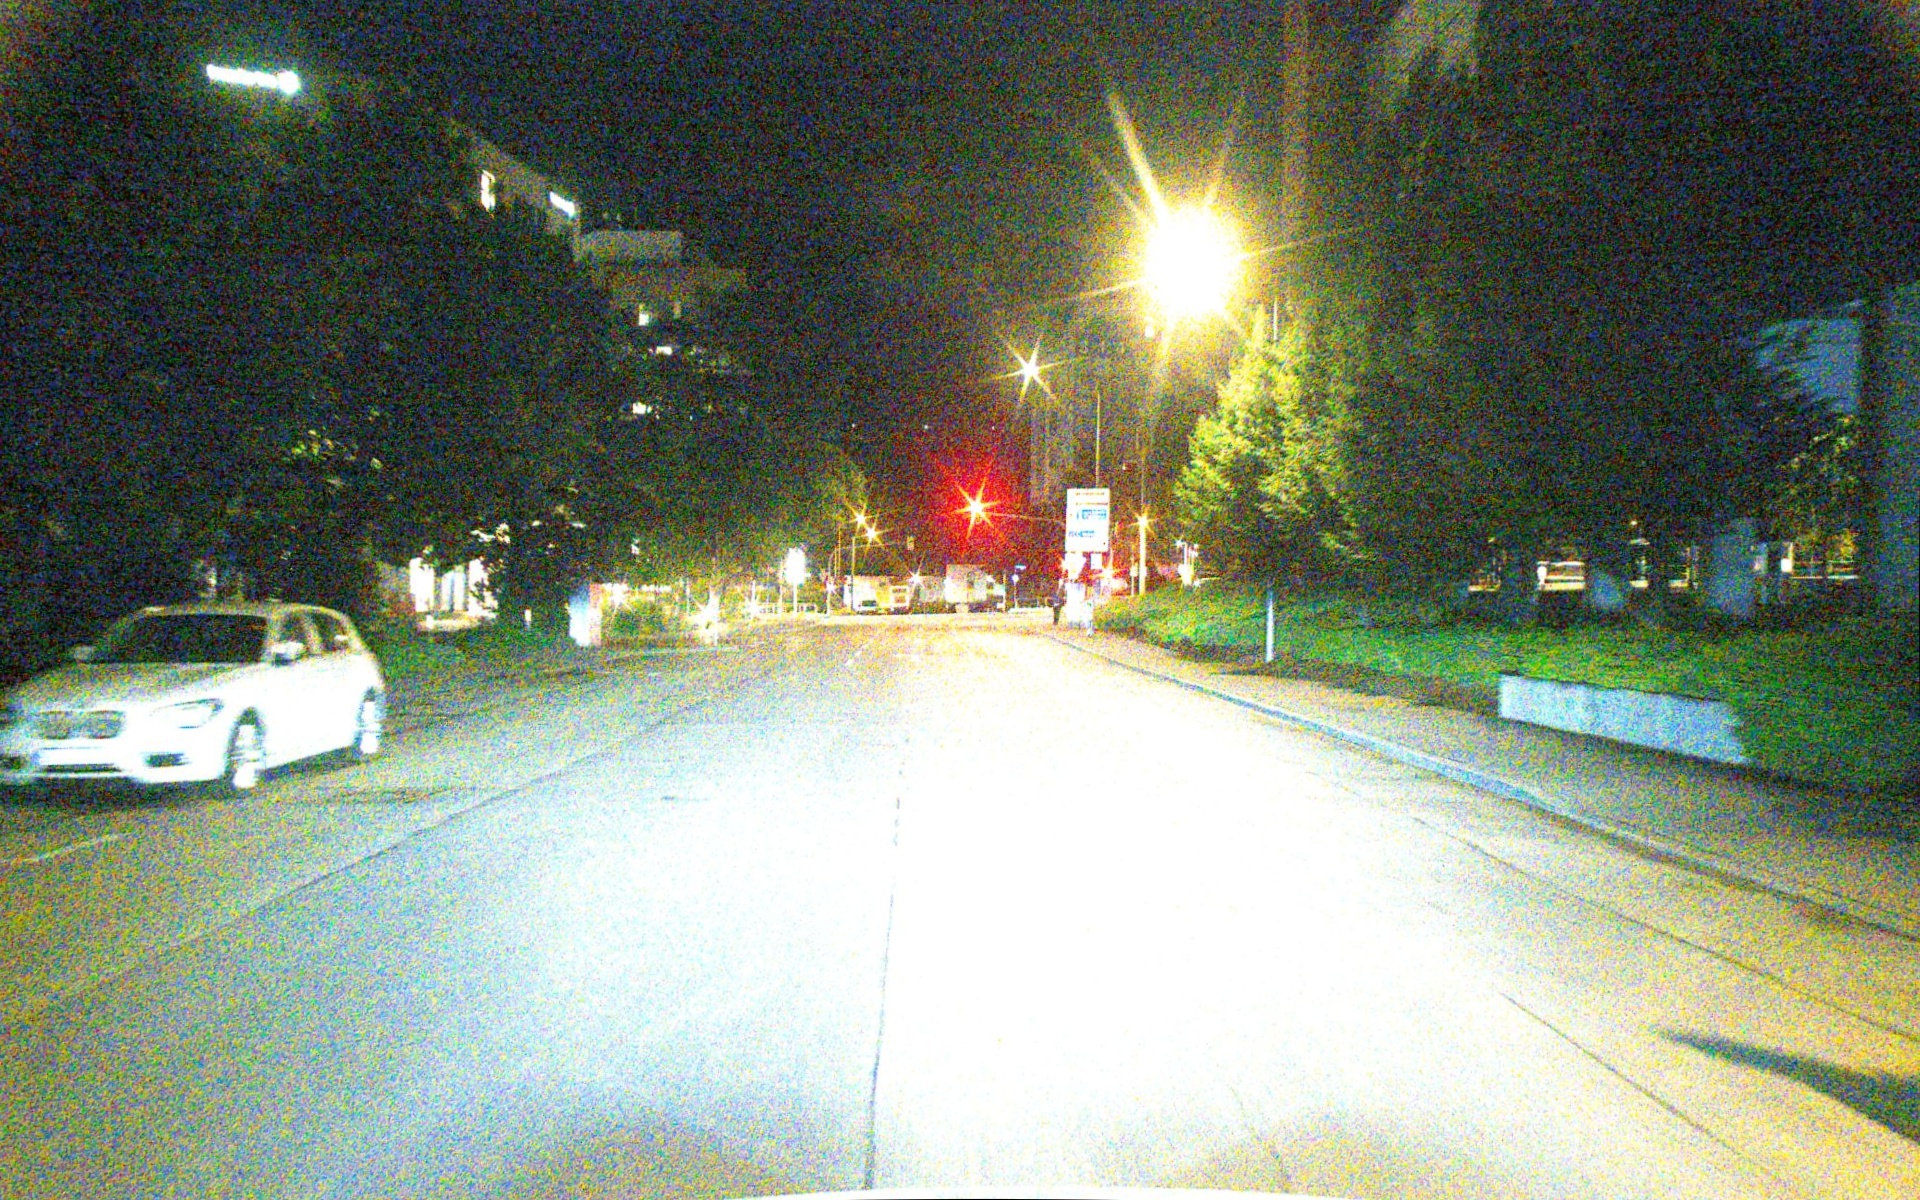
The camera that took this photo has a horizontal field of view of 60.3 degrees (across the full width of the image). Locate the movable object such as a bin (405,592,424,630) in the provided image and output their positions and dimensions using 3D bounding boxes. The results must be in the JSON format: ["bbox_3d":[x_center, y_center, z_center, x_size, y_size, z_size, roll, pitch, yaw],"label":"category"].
[{"bbox_3d":[-21.384,0.420,64.812,0.431,1.477,0.809,-1,1,3],"label":"movable object such as a bin"}]

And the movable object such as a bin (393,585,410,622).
[{"bbox_3d":[-21.577,0.140,63.913,0.349,1.394,0.732,-1,3,1],"label":"movable object such as a bin"}]

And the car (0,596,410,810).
[{"bbox_3d":[-6.092,0.691,13.325,1.872,1.428,4.337,0,0,0],"label":"car"}]

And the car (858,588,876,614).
[{"bbox_3d":[-11.008,0.108,195.560,1.955,3.026,3.995,0,0,-6],"label":"car"}]

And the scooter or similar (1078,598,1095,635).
[{"bbox_3d":[4.467,0.576,58.343,0.484,1.284,1.320,-2,0,1],"label":"scooter or similar"}]

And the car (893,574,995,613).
[{"bbox_3d":[-2.029,-0.843,208.328,12.178,4.792,4.791,0,0,-15],"label":"car"}]

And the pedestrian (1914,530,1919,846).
[{"bbox_3d":[6.007,0.527,9.512,0.558,1.885,0.820,0,0,0],"label":"pedestrian"}]

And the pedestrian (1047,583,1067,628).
[{"bbox_3d":[4.421,0.235,75.232,0.725,2.016,0.622,0,0,-17],"label":"pedestrian"}]
